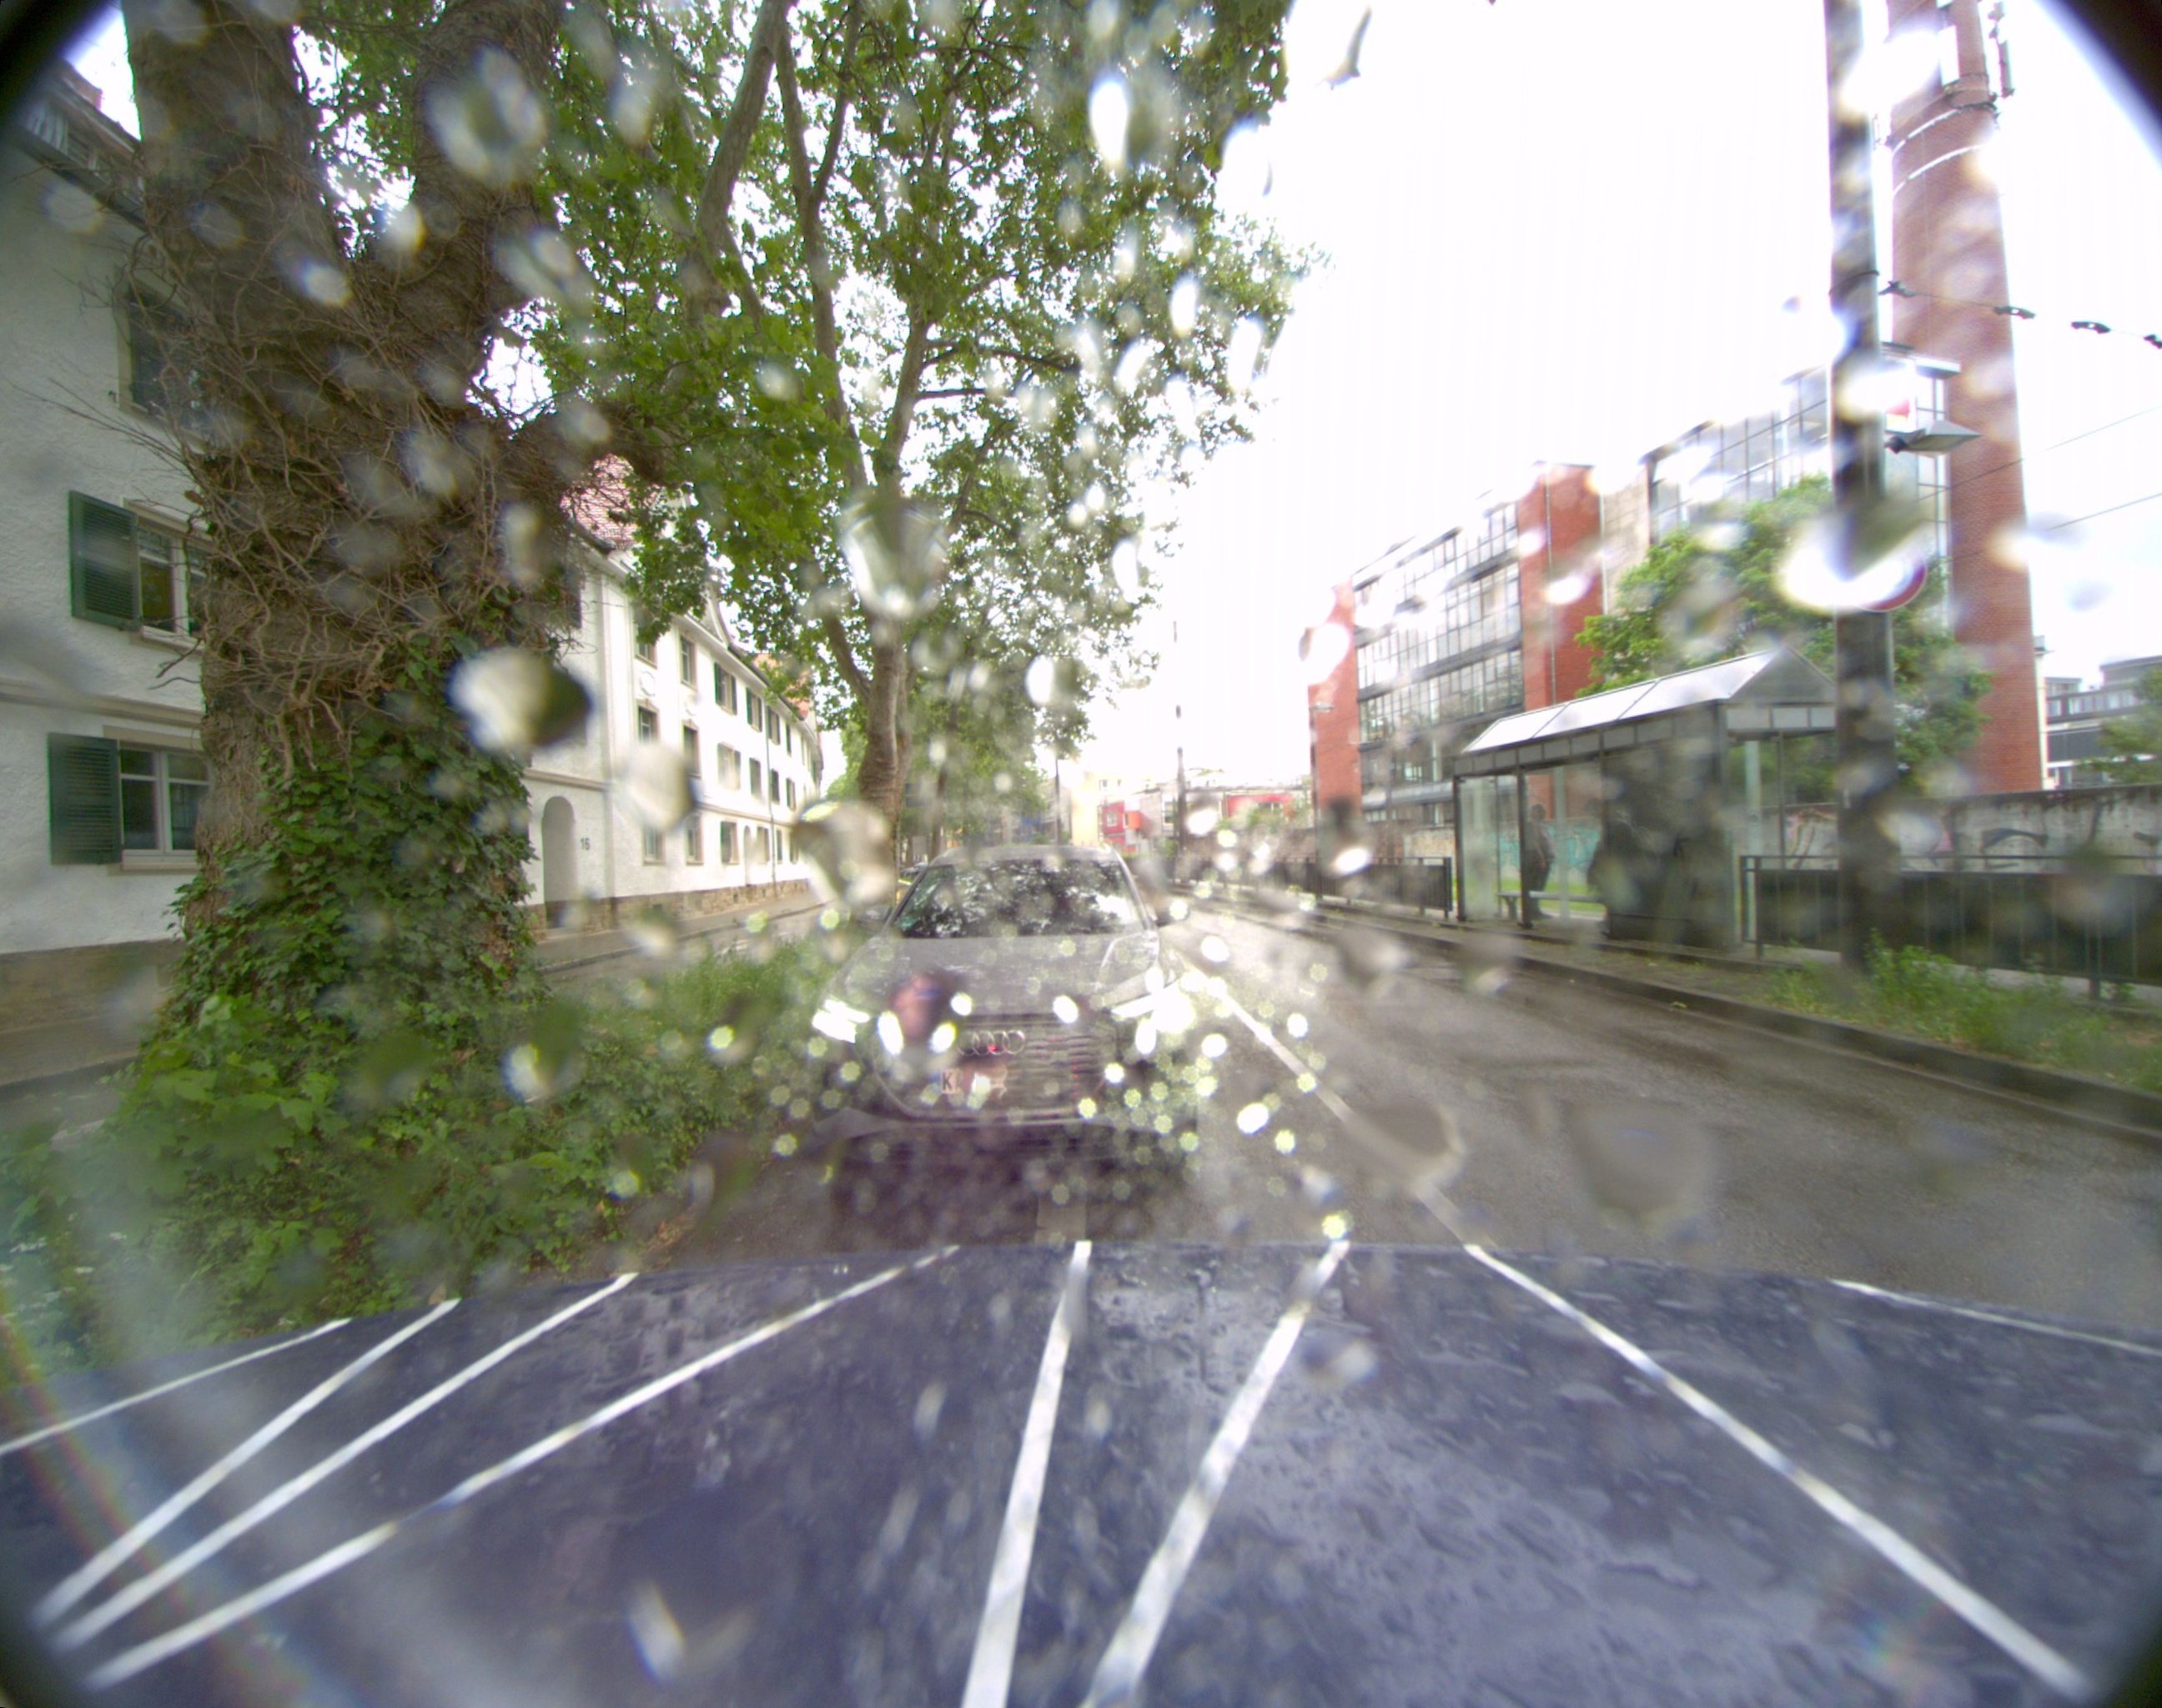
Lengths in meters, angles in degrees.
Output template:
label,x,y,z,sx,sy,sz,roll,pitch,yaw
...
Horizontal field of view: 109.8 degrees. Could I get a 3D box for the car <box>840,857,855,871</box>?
label,x,y,z,sx,sy,sz,roll,pitch,yaw
car,-37.618,1.589,122.409,2.002,2.001,3.993,3,-1,-20

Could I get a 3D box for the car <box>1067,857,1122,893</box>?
label,x,y,z,sx,sy,sz,roll,pitch,yaw
car,0.539,0.907,34.324,1.720,1.451,3.744,-2,1,-11

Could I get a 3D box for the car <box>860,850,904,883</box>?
label,x,y,z,sx,sy,sz,roll,pitch,yaw
car,-14.751,0.911,56.150,2.199,2.250,5.401,-3,0,-24

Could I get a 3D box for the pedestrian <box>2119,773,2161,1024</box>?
label,x,y,z,sx,sy,sz,roll,pitch,yaw
pedestrian,8.149,0.300,5.254,0.828,1.794,0.843,-3,1,-10

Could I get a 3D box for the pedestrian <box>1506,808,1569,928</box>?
label,x,y,z,sx,sy,sz,roll,pitch,yaw
pedestrian,6.777,0.204,11.301,0.629,1.738,0.514,-2,1,9

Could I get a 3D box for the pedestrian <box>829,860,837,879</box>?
label,x,y,z,sx,sy,sz,roll,pitch,yaw
pedestrian,-24.508,1.548,74.971,0.674,1.811,0.678,-3,1,-18

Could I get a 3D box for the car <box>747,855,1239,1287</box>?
label,x,y,z,sx,sy,sz,roll,pitch,yaw
car,-0.408,0.875,5.123,1.917,1.632,4.106,-2,0,-2

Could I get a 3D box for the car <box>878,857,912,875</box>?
label,x,y,z,sx,sy,sz,roll,pitch,yaw
car,-23.204,1.498,94.663,4.002,2.002,1.997,-2,0,-17

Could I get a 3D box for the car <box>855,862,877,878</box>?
label,x,y,z,sx,sy,sz,roll,pitch,yaw
car,-21.476,1.578,75.722,1.834,1.517,3.993,-3,1,-19

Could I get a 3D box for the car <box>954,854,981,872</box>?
label,x,y,z,sx,sy,sz,roll,pitch,yaw
car,-11.454,0.920,76.481,1.810,1.673,4.596,-3,0,-18

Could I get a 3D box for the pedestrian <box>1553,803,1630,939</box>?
label,x,y,z,sx,sy,sz,roll,pitch,yaw
pedestrian,6.738,0.220,10.048,0.629,1.738,0.564,-2,1,9

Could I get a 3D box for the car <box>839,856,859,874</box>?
label,x,y,z,sx,sy,sz,roll,pitch,yaw
car,-27.188,1.302,88.942,2.002,2.001,3.993,3,-1,-20
